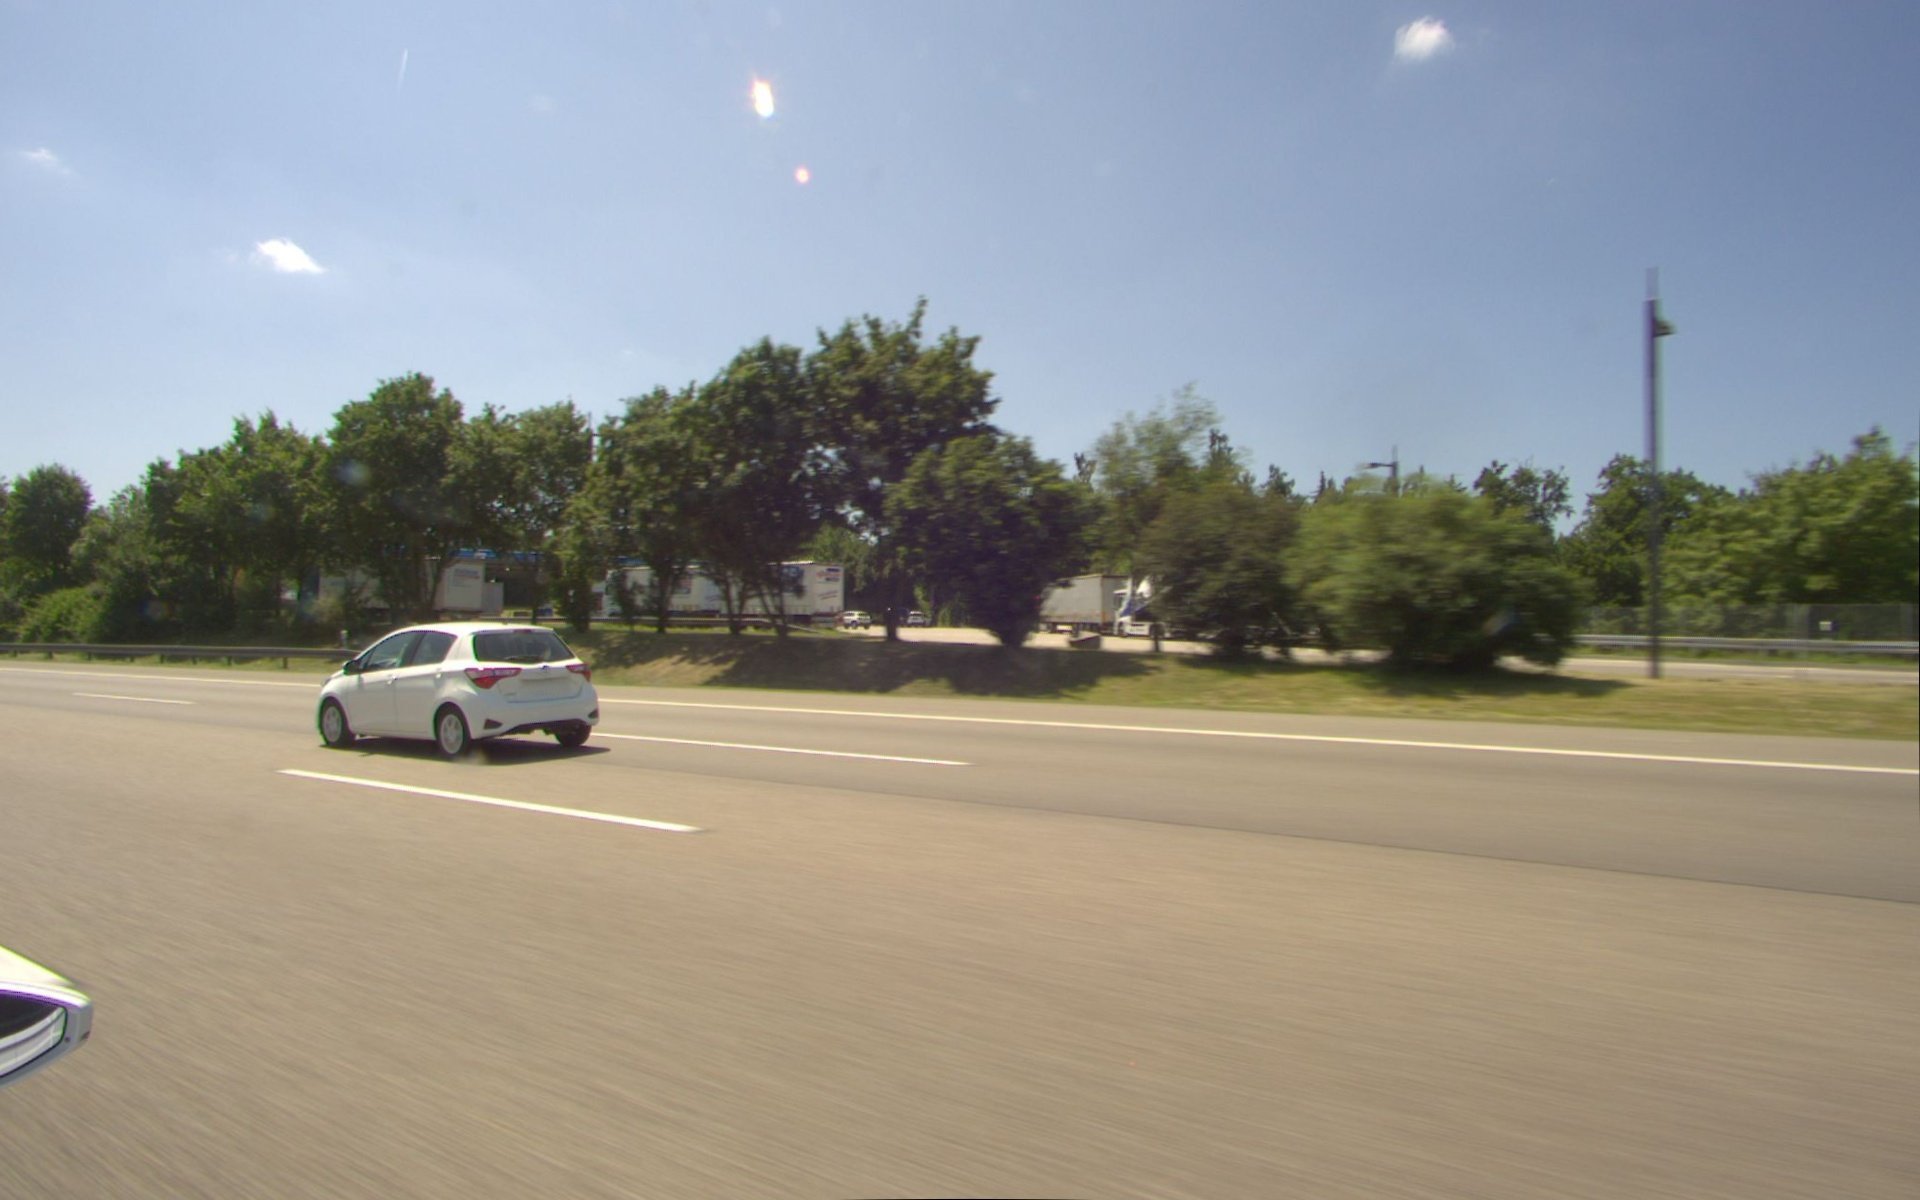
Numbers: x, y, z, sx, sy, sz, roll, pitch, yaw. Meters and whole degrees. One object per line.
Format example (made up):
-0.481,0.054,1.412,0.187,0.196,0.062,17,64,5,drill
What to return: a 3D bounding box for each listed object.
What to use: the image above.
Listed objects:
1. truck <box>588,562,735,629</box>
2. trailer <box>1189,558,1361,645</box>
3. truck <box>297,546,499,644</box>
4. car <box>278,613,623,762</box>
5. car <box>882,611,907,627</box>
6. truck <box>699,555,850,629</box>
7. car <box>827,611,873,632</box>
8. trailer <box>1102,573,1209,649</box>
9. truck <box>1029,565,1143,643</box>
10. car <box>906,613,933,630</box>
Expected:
-19.039,-0.124,63.467,10.240,3.904,2.929,-1,-2,32,truck
14.774,0.252,48.162,2.206,3.764,10.095,0,-2,-20,trailer
-34.622,-0.042,61.183,16.154,5.388,3.513,-1,-2,32,truck
-6.322,0.955,12.285,4.419,1.538,1.747,-1,-1,31,car
-6.862,2.019,105.381,1.989,1.609,3.536,0,-2,7,car
-10.879,-0.326,58.257,9.131,3.926,2.960,-1,-2,32,truck
-9.795,1.899,89.110,3.781,1.797,1.734,-1,-2,32,car
11.234,0.745,58.714,2.273,4.087,9.586,0,-2,-14,trailer
8.747,0.543,72.993,2.910,5.051,16.344,0,-2,-13,truck
-4.195,2.223,104.683,1.962,1.707,4.000,0,-2,10,car
